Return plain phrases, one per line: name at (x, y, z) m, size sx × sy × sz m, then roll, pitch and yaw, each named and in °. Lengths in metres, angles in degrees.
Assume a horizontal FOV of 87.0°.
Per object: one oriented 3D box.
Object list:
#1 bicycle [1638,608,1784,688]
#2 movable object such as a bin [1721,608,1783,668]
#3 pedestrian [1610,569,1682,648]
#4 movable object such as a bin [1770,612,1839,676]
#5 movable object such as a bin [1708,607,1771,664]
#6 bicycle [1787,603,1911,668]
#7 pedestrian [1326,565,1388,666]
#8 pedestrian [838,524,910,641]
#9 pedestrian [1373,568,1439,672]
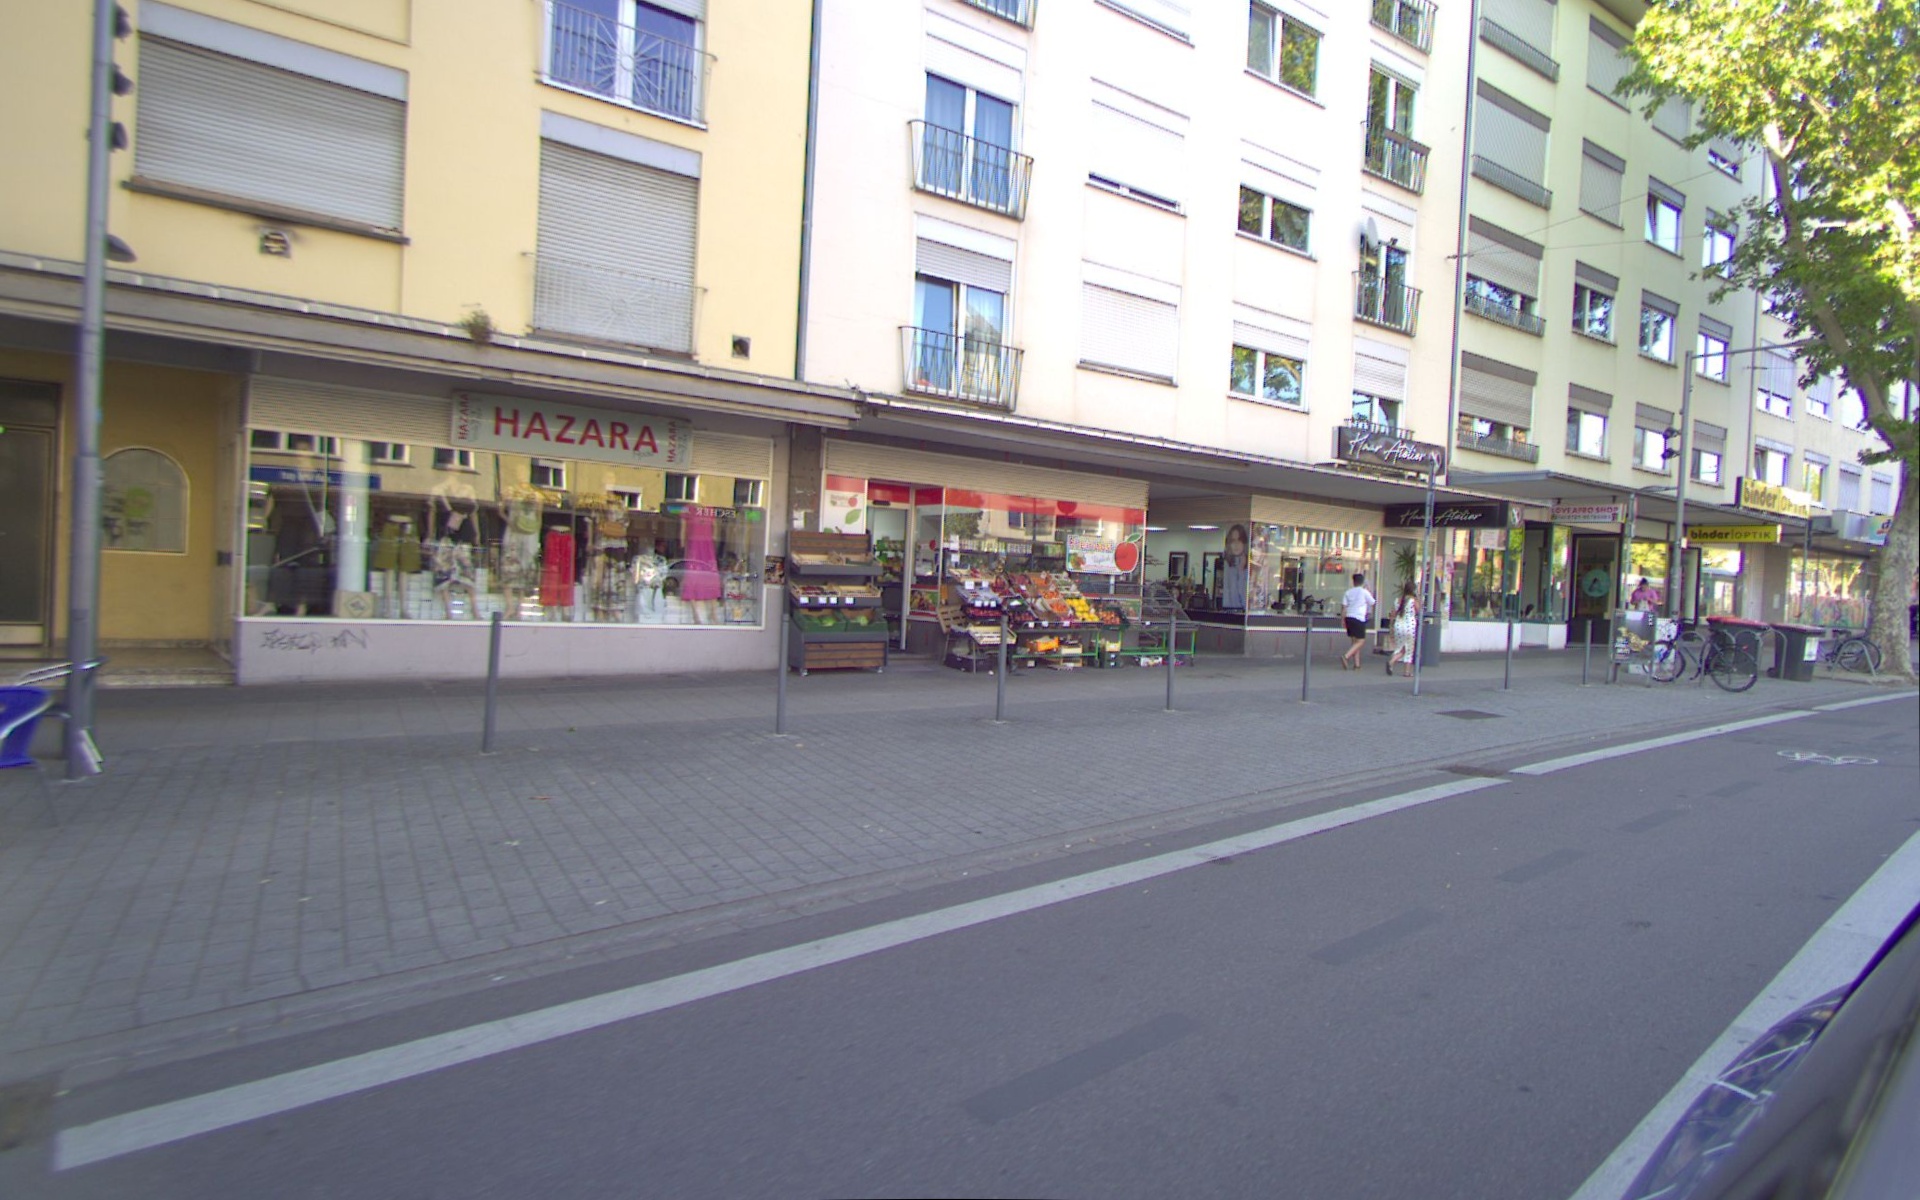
bicycle at (12.781, 0.790, 17.292) m, size 0.507 × 1.118 × 1.918 m, roll 1°, pitch 4°, yaw -26°
movable object such as a bin at (15.625, 0.740, 19.978) m, size 0.632 × 1.084 × 0.725 m, roll 0°, pitch 6°, yaw -35°
pedestrian at (16.234, 0.185, 23.949) m, size 1.111 × 1.784 × 0.972 m, roll 0°, pitch 3°, yaw -32°
movable object such as a bin at (16.114, 0.832, 19.327) m, size 0.631 × 1.115 × 0.726 m, roll 1°, pitch 5°, yaw -26°
movable object such as a bin at (15.954, 0.713, 20.724) m, size 0.630 × 1.085 × 0.726 m, roll 2°, pitch 3°, yaw -15°
bicycle at (17.986, 0.694, 20.512) m, size 0.731 × 1.130 × 1.725 m, roll -3°, pitch 4°, yaw -32°
pedestrian at (6.551, 0.244, 16.722) m, size 0.614 × 1.605 × 0.624 m, roll 1°, pitch 4°, yaw -34°
pedestrian at (-1.339, -0.267, 15.763) m, size 0.864 × 1.766 × 0.686 m, roll 1°, pitch 0°, yaw -37°
pedestrian at (7.141, 0.308, 16.219) m, size 0.614 × 1.605 × 0.638 m, roll 1°, pitch 4°, yaw -34°
